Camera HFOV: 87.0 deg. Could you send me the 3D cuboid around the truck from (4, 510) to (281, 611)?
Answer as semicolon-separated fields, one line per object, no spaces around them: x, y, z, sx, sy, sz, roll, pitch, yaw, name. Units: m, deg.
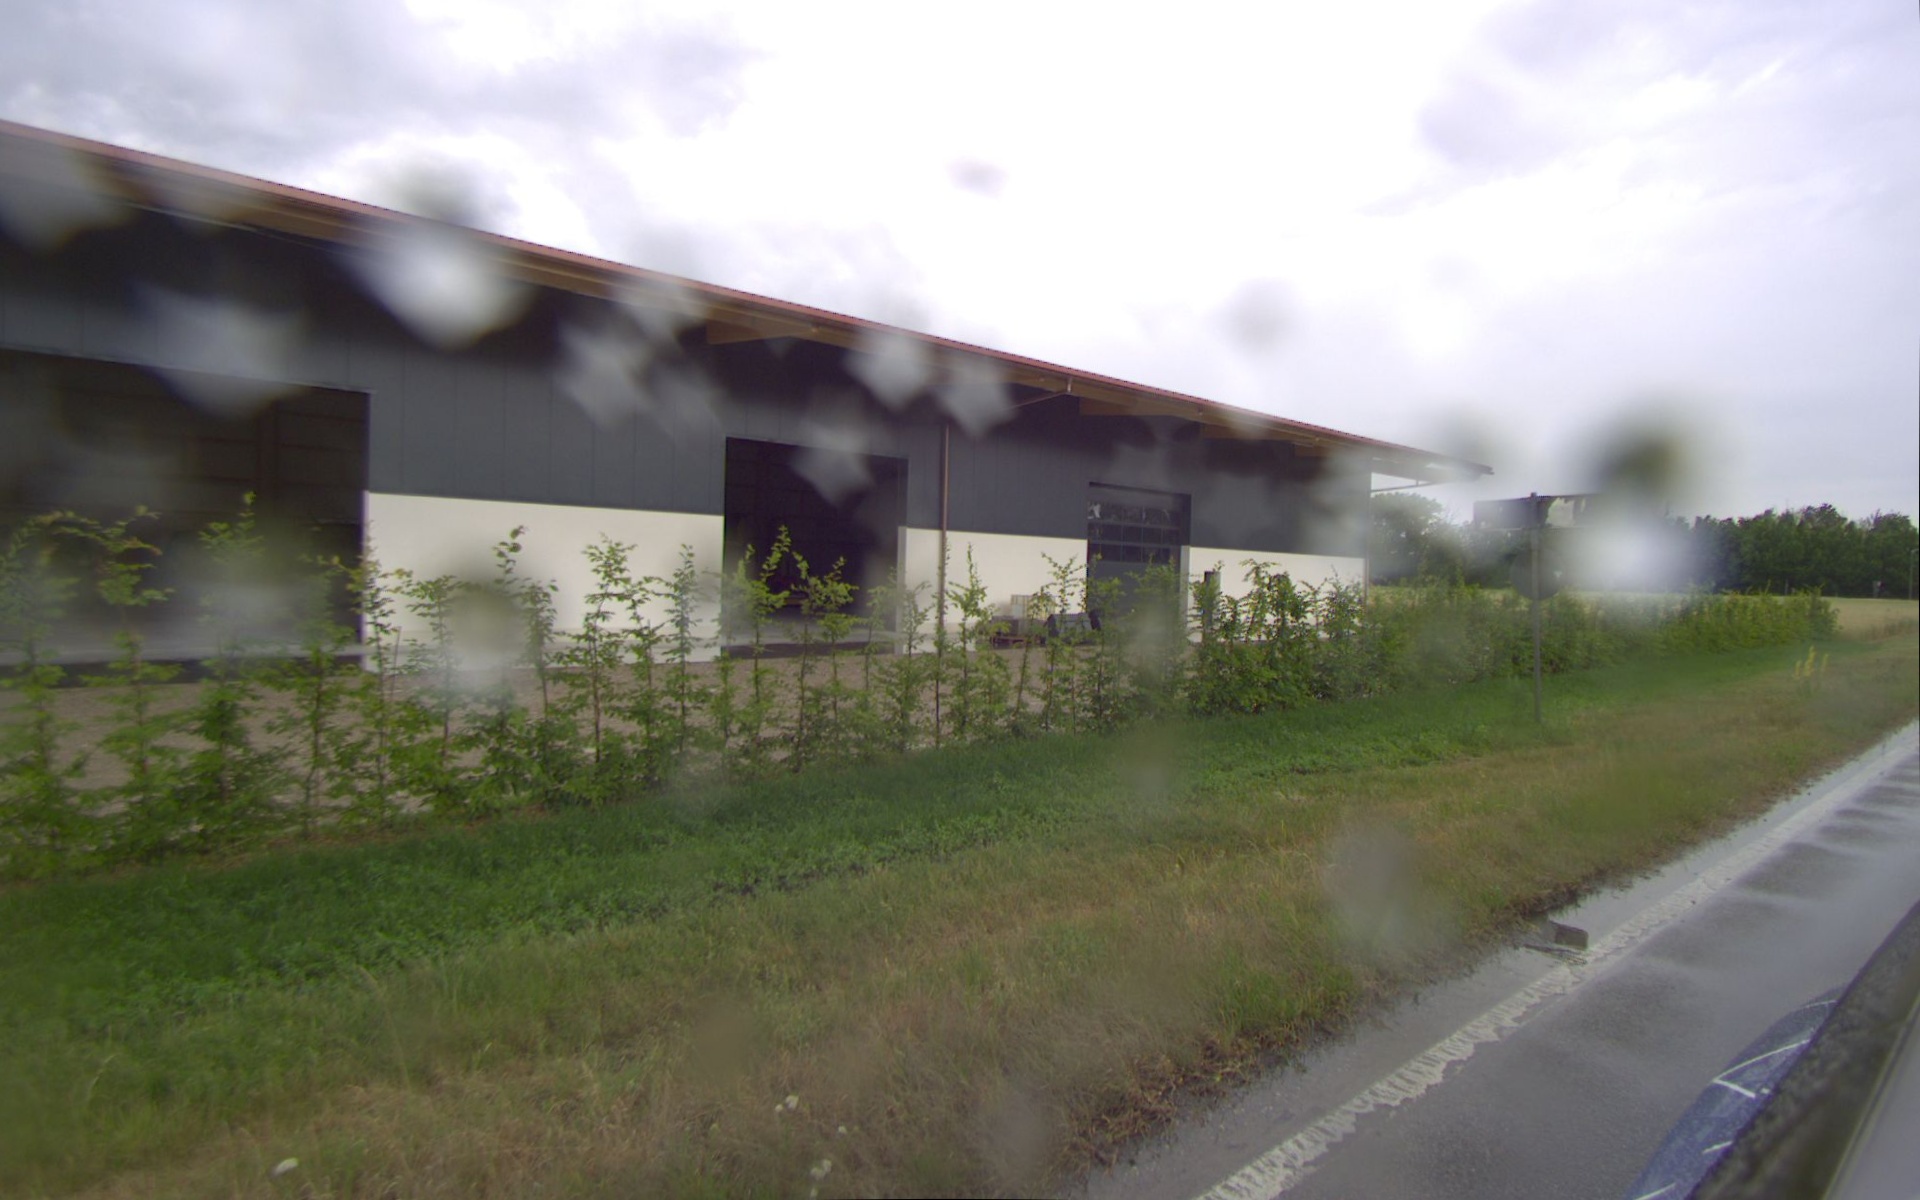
-23.314;-1.077;29.170;6.047;2.639;2.122;0;2;-40;truck
